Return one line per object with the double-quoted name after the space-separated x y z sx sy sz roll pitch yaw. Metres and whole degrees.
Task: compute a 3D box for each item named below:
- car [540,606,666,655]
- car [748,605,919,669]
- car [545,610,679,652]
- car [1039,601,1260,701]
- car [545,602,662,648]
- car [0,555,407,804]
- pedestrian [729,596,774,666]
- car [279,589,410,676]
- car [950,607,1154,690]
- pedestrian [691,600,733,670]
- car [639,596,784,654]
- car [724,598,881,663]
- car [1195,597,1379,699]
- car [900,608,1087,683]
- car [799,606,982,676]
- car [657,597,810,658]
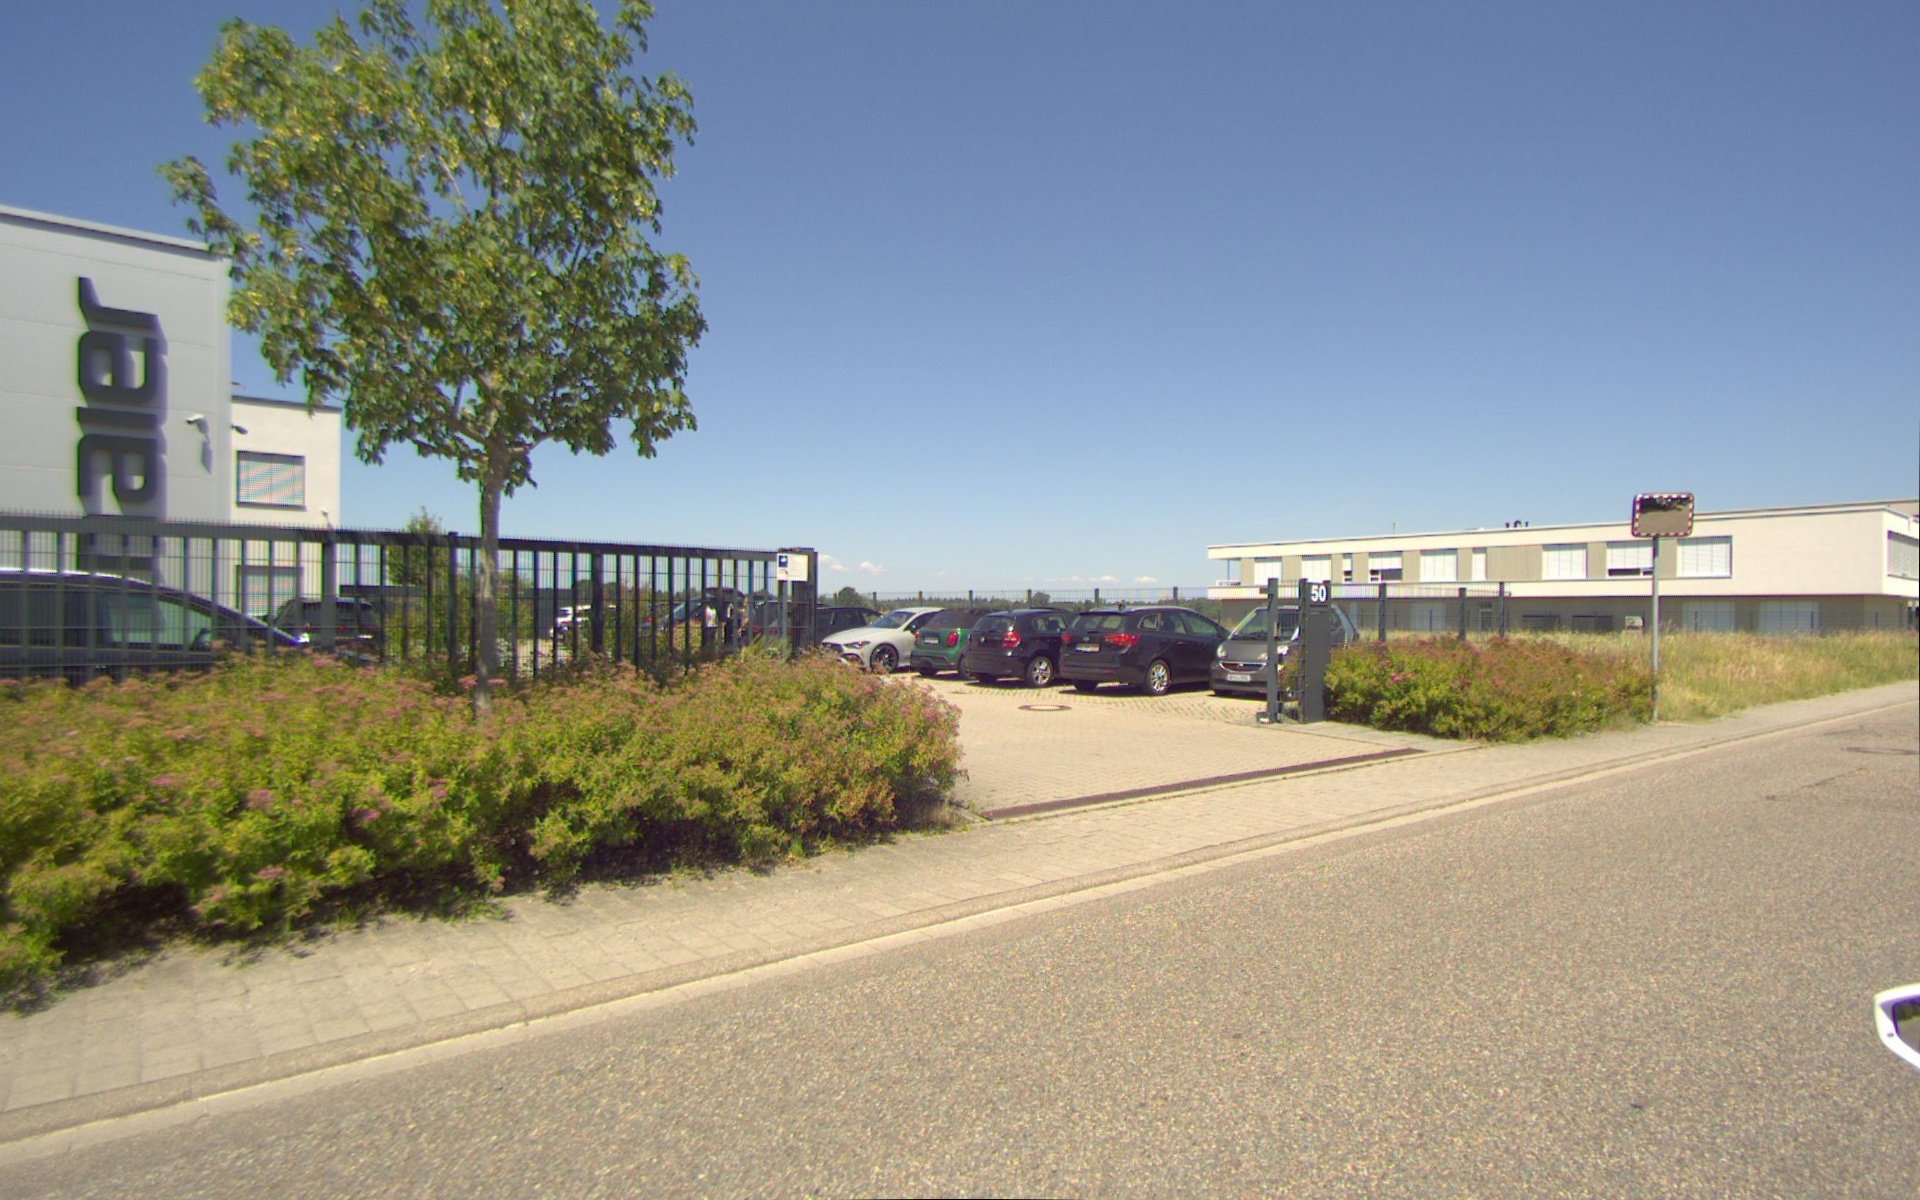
-13.085 1.091 36.922 3.964 1.706 1.978 1 0 -38 "car"
-3.075 0.867 24.861 3.969 1.459 1.657 1 -1 -41 "car"
-11.992 1.049 34.690 3.964 1.327 1.978 1 0 -38 "car"
3.436 0.832 17.823 3.969 1.561 1.809 1 -1 -41 "car"
-14.036 0.961 39.607 3.964 1.706 1.978 1 0 -38 "car"
-6.913 0.564 8.126 4.053 1.746 1.979 1 0 -37 "car"
-5.207 0.766 25.053 0.702 1.705 0.825 1 0 44 "pedestrian"
-11.439 0.545 18.567 1.780 1.439 3.831 1 -1 -36 "car"
1.878 0.889 19.807 3.969 1.459 1.786 1 -1 -41 "car"
-6.028 0.835 24.422 0.612 1.651 0.772 1 0 38 "pedestrian"
-7.472 0.739 30.418 3.969 1.627 1.657 1 0 -41 "car"
-4.228 0.792 27.253 3.969 1.627 1.657 1 -1 -41 "car"
5.532 0.752 16.902 2.974 1.540 1.685 1 -1 -41 "car"
0.787 0.914 21.551 3.969 1.459 1.657 1 -1 -41 "car"
-1.518 0.874 22.747 3.969 1.459 1.657 1 -1 -41 "car"
-6.394 0.759 28.581 3.969 1.627 1.657 1 -1 -41 "car"
